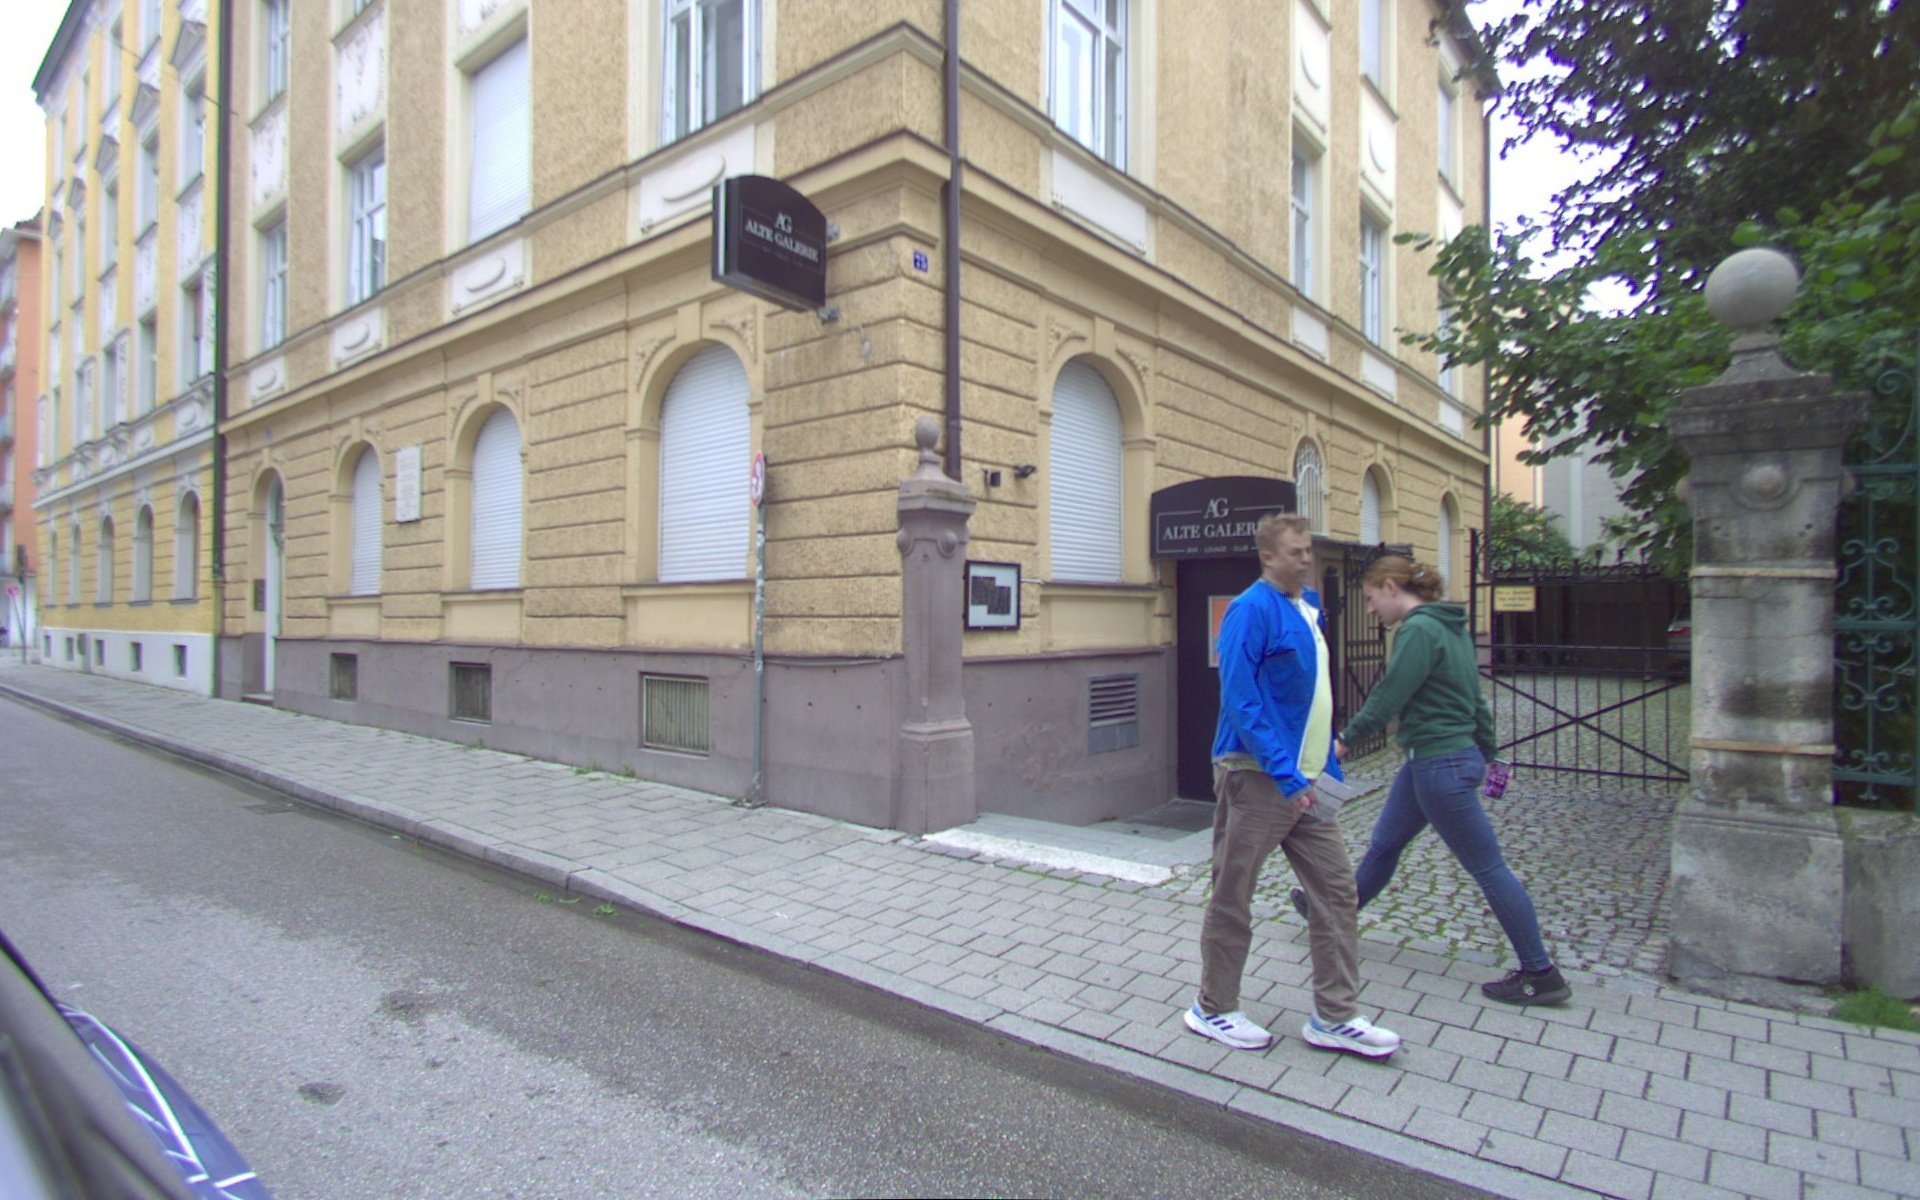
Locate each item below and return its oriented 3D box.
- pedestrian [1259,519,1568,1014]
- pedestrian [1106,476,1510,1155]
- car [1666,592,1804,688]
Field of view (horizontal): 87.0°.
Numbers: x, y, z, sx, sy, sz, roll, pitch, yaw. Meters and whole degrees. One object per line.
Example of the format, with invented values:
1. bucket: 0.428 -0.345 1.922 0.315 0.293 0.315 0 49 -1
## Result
1. pedestrian: 1.787 0.560 3.991 0.929 1.678 0.705 -1 1 40
2. pedestrian: 1.166 0.596 3.423 1.076 1.868 0.749 -1 0 40
3. car: 15.002 0.700 19.528 1.635 1.552 3.678 -1 1 45
